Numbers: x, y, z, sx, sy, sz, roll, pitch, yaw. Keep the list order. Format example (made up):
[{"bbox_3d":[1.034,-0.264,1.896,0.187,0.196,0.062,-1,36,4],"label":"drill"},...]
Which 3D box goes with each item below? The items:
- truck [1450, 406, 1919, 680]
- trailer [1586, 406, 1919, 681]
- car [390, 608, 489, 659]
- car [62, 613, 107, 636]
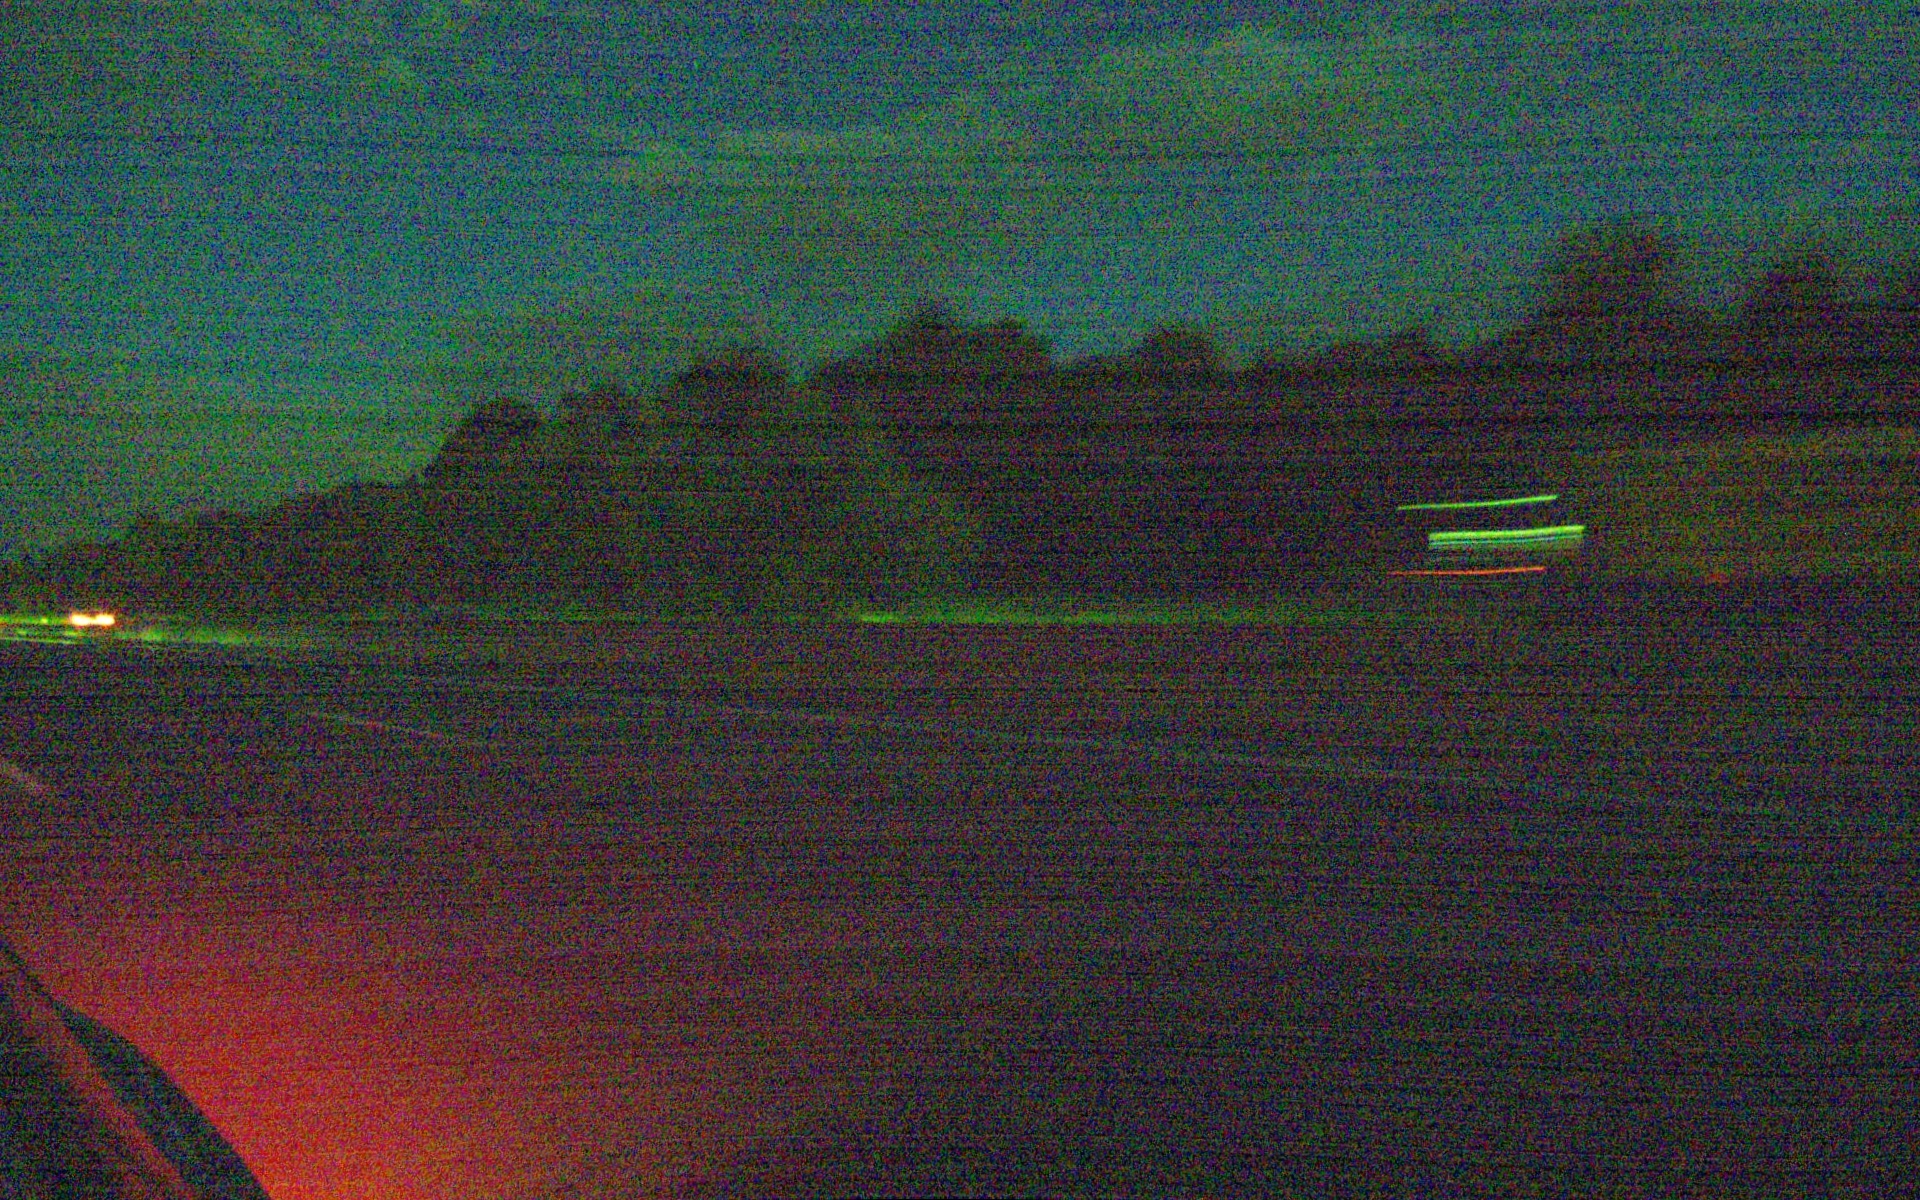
[{"bbox_3d":[12.887,-0.817,18.164,6.698,4.000,3.465,0,0,42],"label":"truck"},{"bbox_3d":[18.516,-0.864,13.212,17.276,4.030,3.506,0,0,42],"label":"trailer"},{"bbox_3d":[-17.939,1.110,34.839,3.739,1.658,1.728,0,0,40],"label":"car"},{"bbox_3d":[-72.669,2.018,83.993,5.682,1.835,1.973,0,0,40],"label":"car"}]
